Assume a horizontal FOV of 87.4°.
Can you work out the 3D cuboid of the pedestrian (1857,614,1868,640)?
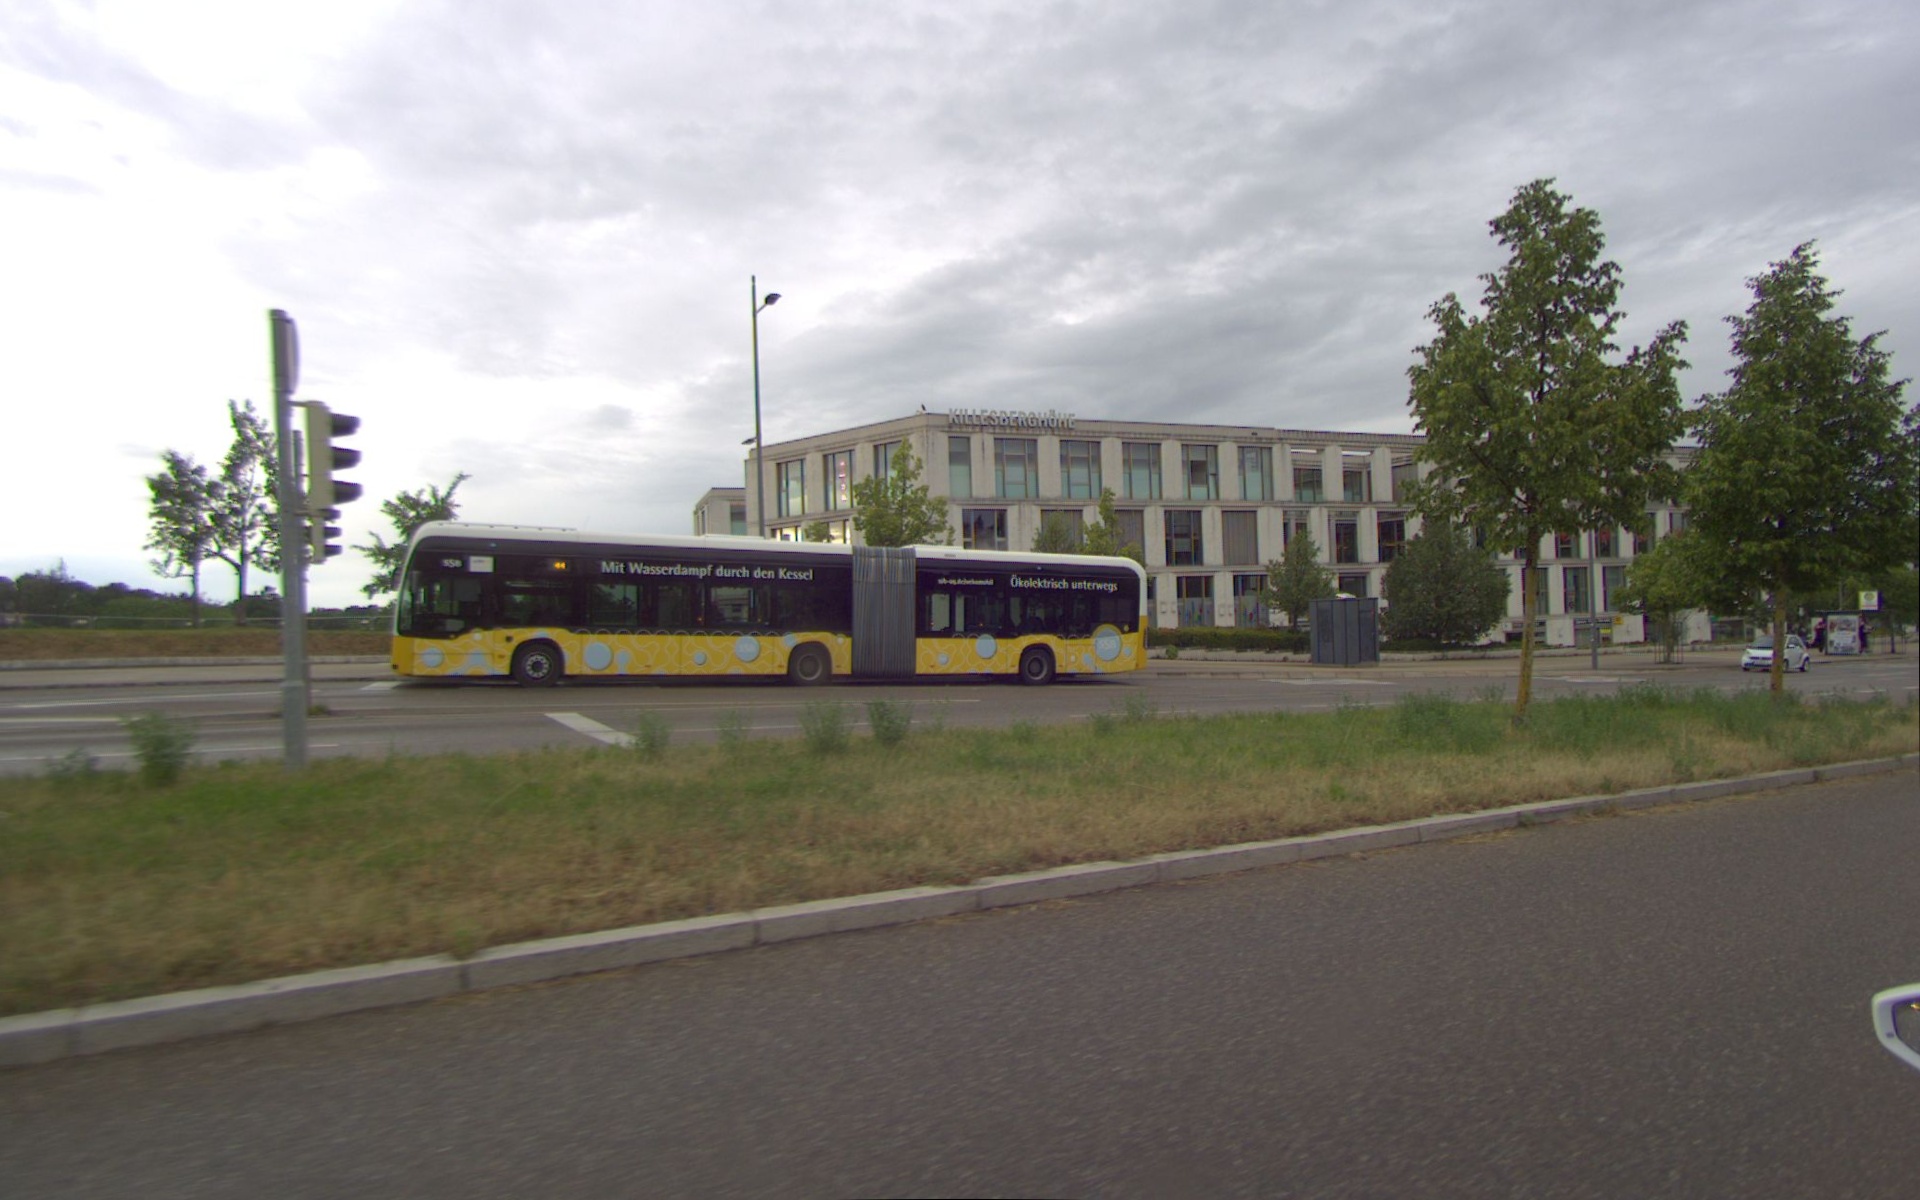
[{"bbox_3d":[59.630,1.763,66.377,0.492,1.712,0.910,-2,-2,43],"label":"pedestrian"}]

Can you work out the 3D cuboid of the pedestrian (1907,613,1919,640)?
[{"bbox_3d":[63.459,1.782,66.697,0.846,1.785,0.596,0,-1,-28],"label":"pedestrian"}]

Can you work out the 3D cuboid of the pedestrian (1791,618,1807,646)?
[{"bbox_3d":[51.579,1.970,61.753,0.559,1.748,0.523,0,-1,-28],"label":"pedestrian"}]

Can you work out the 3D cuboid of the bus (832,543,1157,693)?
[{"bbox_3d":[0.957,0.525,26.489,8.113,3.518,2.815,1,-1,-23],"label":"bus"}]

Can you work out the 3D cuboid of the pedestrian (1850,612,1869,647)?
[{"bbox_3d":[48.697,1.596,54.381,0.747,1.866,0.505,0,-1,-31],"label":"pedestrian"}]

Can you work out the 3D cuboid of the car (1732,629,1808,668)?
[{"bbox_3d":[34.342,2.026,42.579,2.937,1.528,1.606,1,-1,-30],"label":"car"}]

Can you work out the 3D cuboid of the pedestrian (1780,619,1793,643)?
[{"bbox_3d":[51.704,1.945,62.849,0.504,1.470,0.424,0,-1,-29],"label":"pedestrian"}]

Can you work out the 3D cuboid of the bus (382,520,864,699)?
[{"bbox_3d":[-7.327,0.313,22.959,9.831,3.518,2.815,1,-1,-23],"label":"bus"}]
